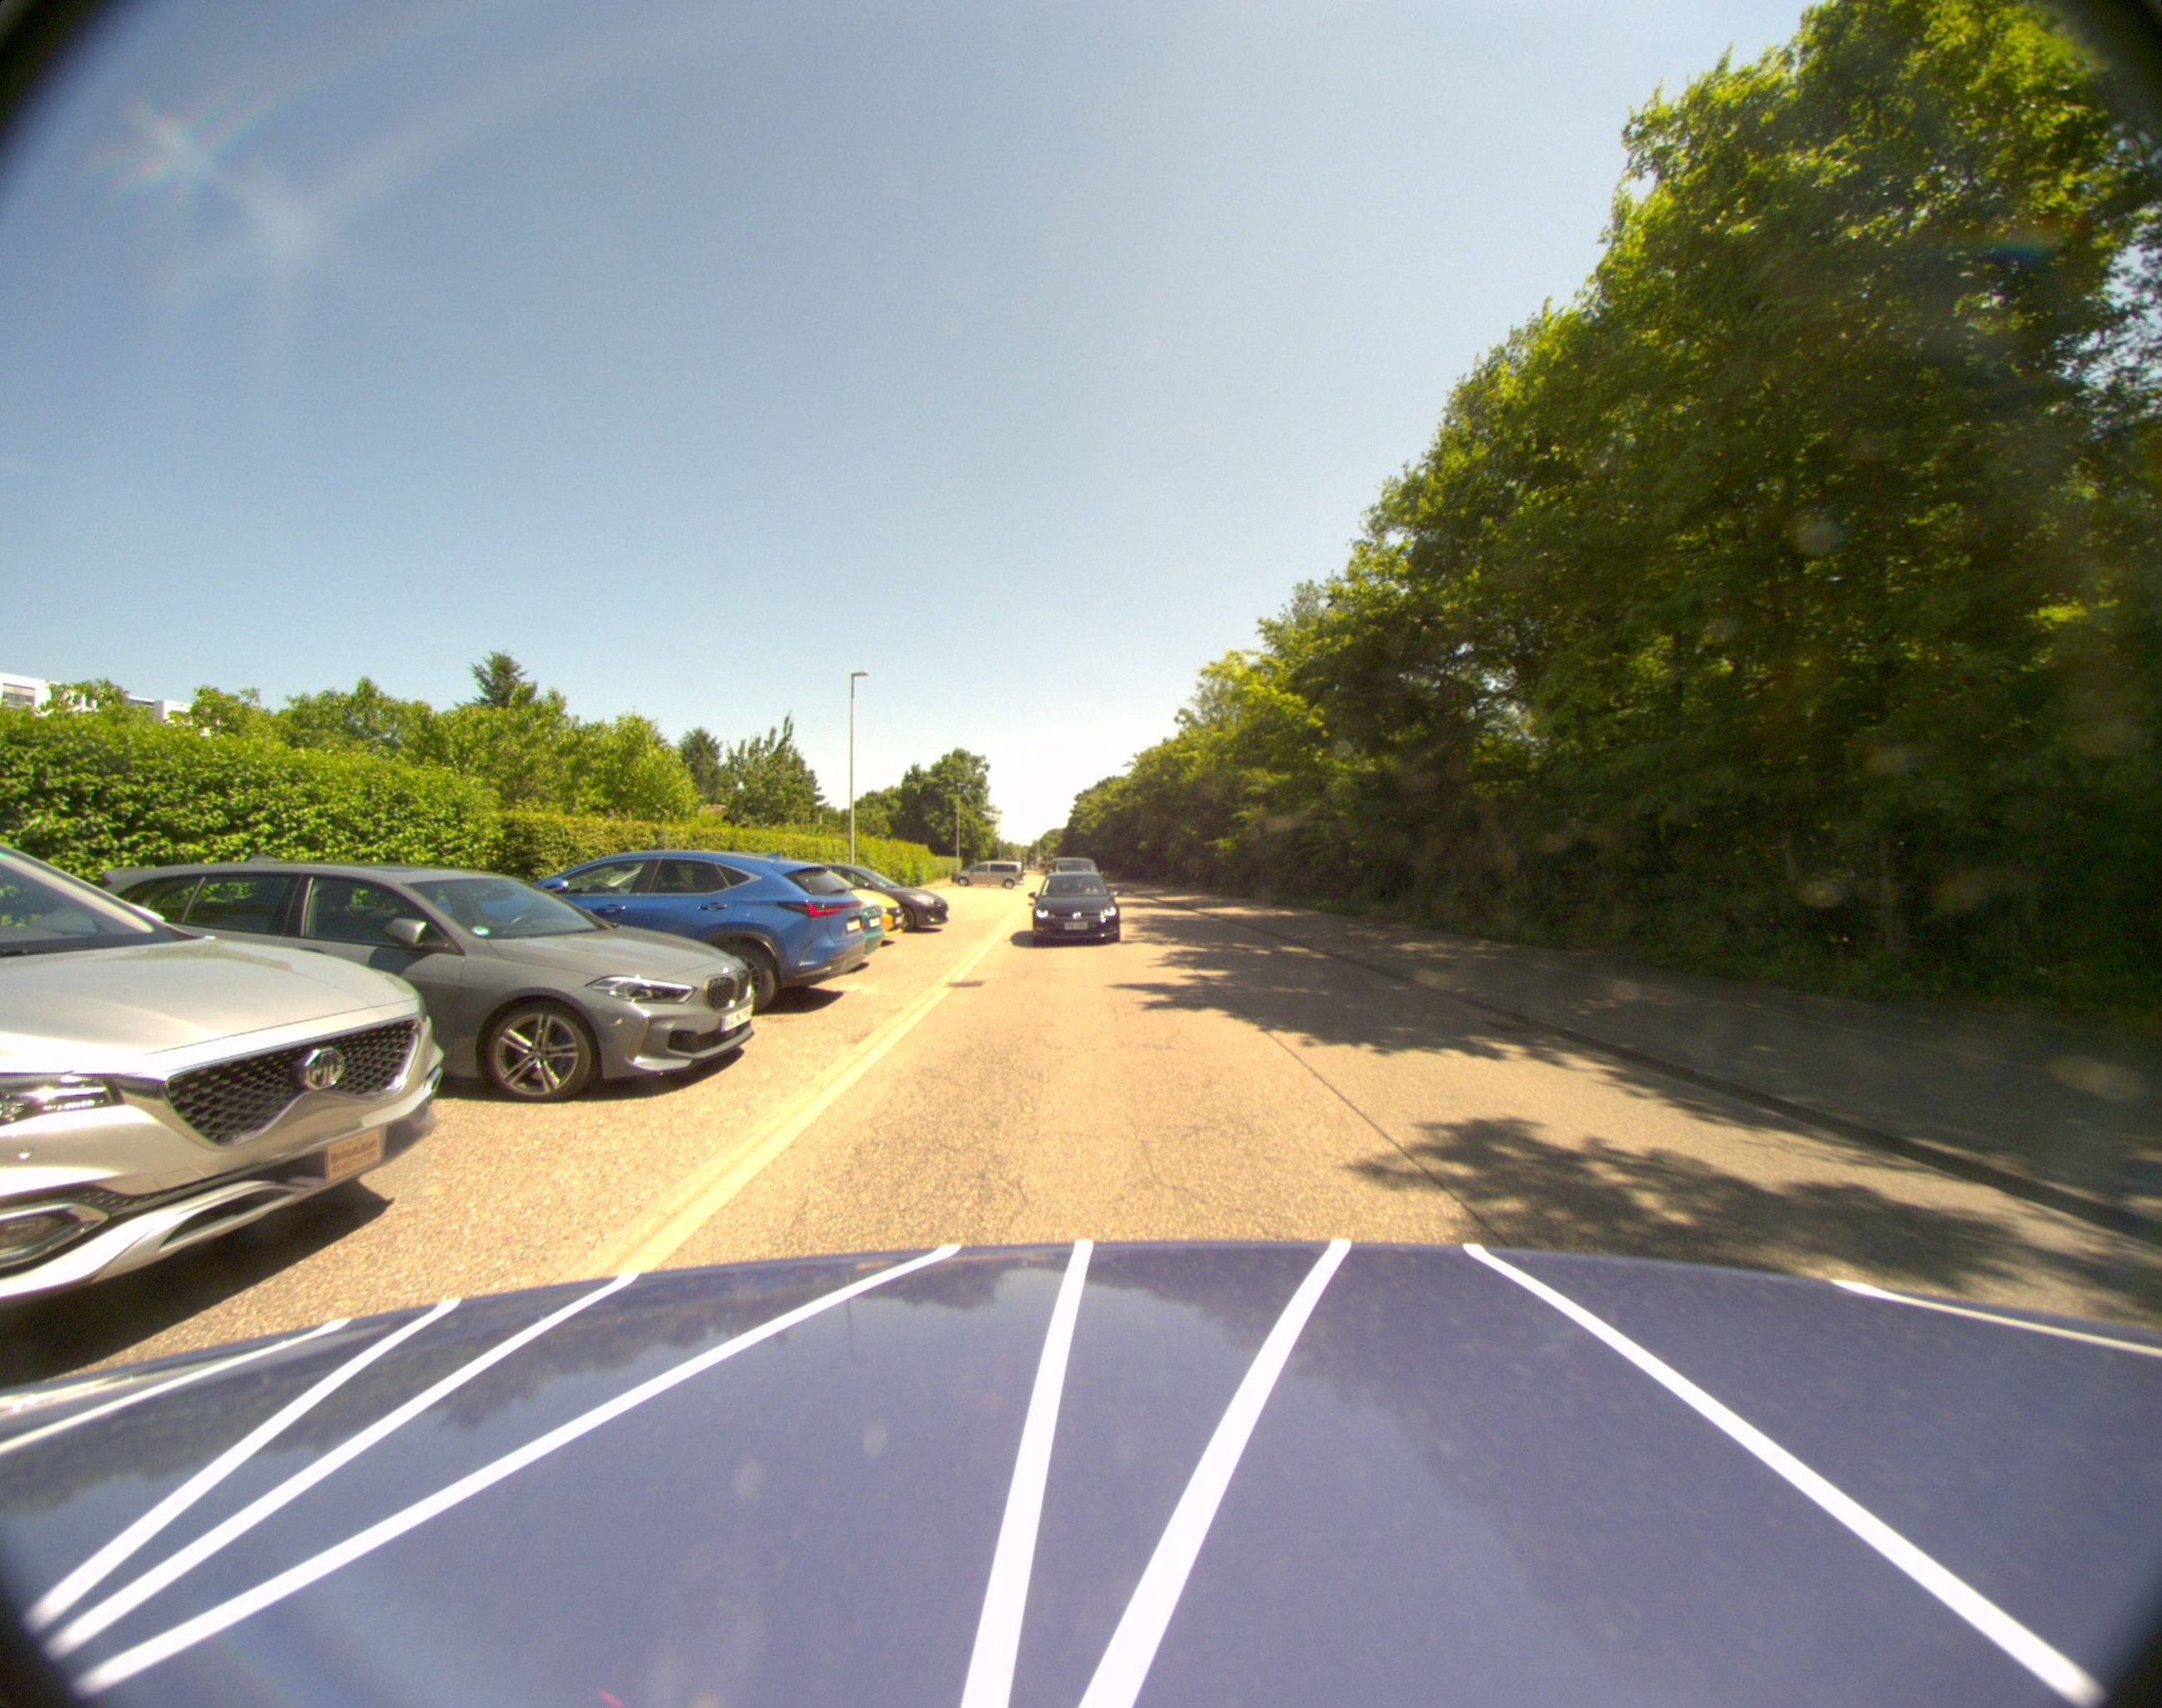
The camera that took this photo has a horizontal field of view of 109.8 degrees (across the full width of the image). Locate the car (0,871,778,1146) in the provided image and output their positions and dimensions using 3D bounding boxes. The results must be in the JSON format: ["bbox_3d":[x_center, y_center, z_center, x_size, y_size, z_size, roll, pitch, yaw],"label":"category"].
[{"bbox_3d":[-4.537,0.945,5.386,4.036,1.401,1.680,3,0,0],"label":"car"}]

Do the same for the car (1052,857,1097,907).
[{"bbox_3d":[-0.259,1.109,31.617,1.743,1.904,4.388,-1,-1,0],"label":"car"}]

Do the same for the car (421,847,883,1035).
[{"bbox_3d":[-4.447,0.862,8.319,4.036,1.632,1.674,3,0,1],"label":"car"}]

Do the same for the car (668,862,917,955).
[{"bbox_3d":[-5.360,0.984,14.469,4.036,1.438,1.649,3,0,1],"label":"car"}]

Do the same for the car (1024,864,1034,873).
[{"bbox_3d":[-9.291,2.570,135.912,1.744,1.396,4.387,1,-1,-4],"label":"car"}]

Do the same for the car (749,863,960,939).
[{"bbox_3d":[-5.069,1.026,17.377,4.251,1.409,1.649,3,0,1],"label":"car"}]

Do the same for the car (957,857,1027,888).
[{"bbox_3d":[-5.915,1.232,50.972,4.493,1.840,1.695,3,0,-4],"label":"car"}]

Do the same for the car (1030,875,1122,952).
[{"bbox_3d":[-0.107,1.213,16.800,1.743,1.396,4.388,-1,-1,0],"label":"car"}]

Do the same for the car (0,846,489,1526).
[{"bbox_3d":[-4.795,0.778,2.506,4.170,1.632,1.776,3,0,-2],"label":"car"}]

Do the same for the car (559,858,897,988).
[{"bbox_3d":[-4.922,0.925,10.977,4.036,1.505,1.649,3,0,1],"label":"car"}]
